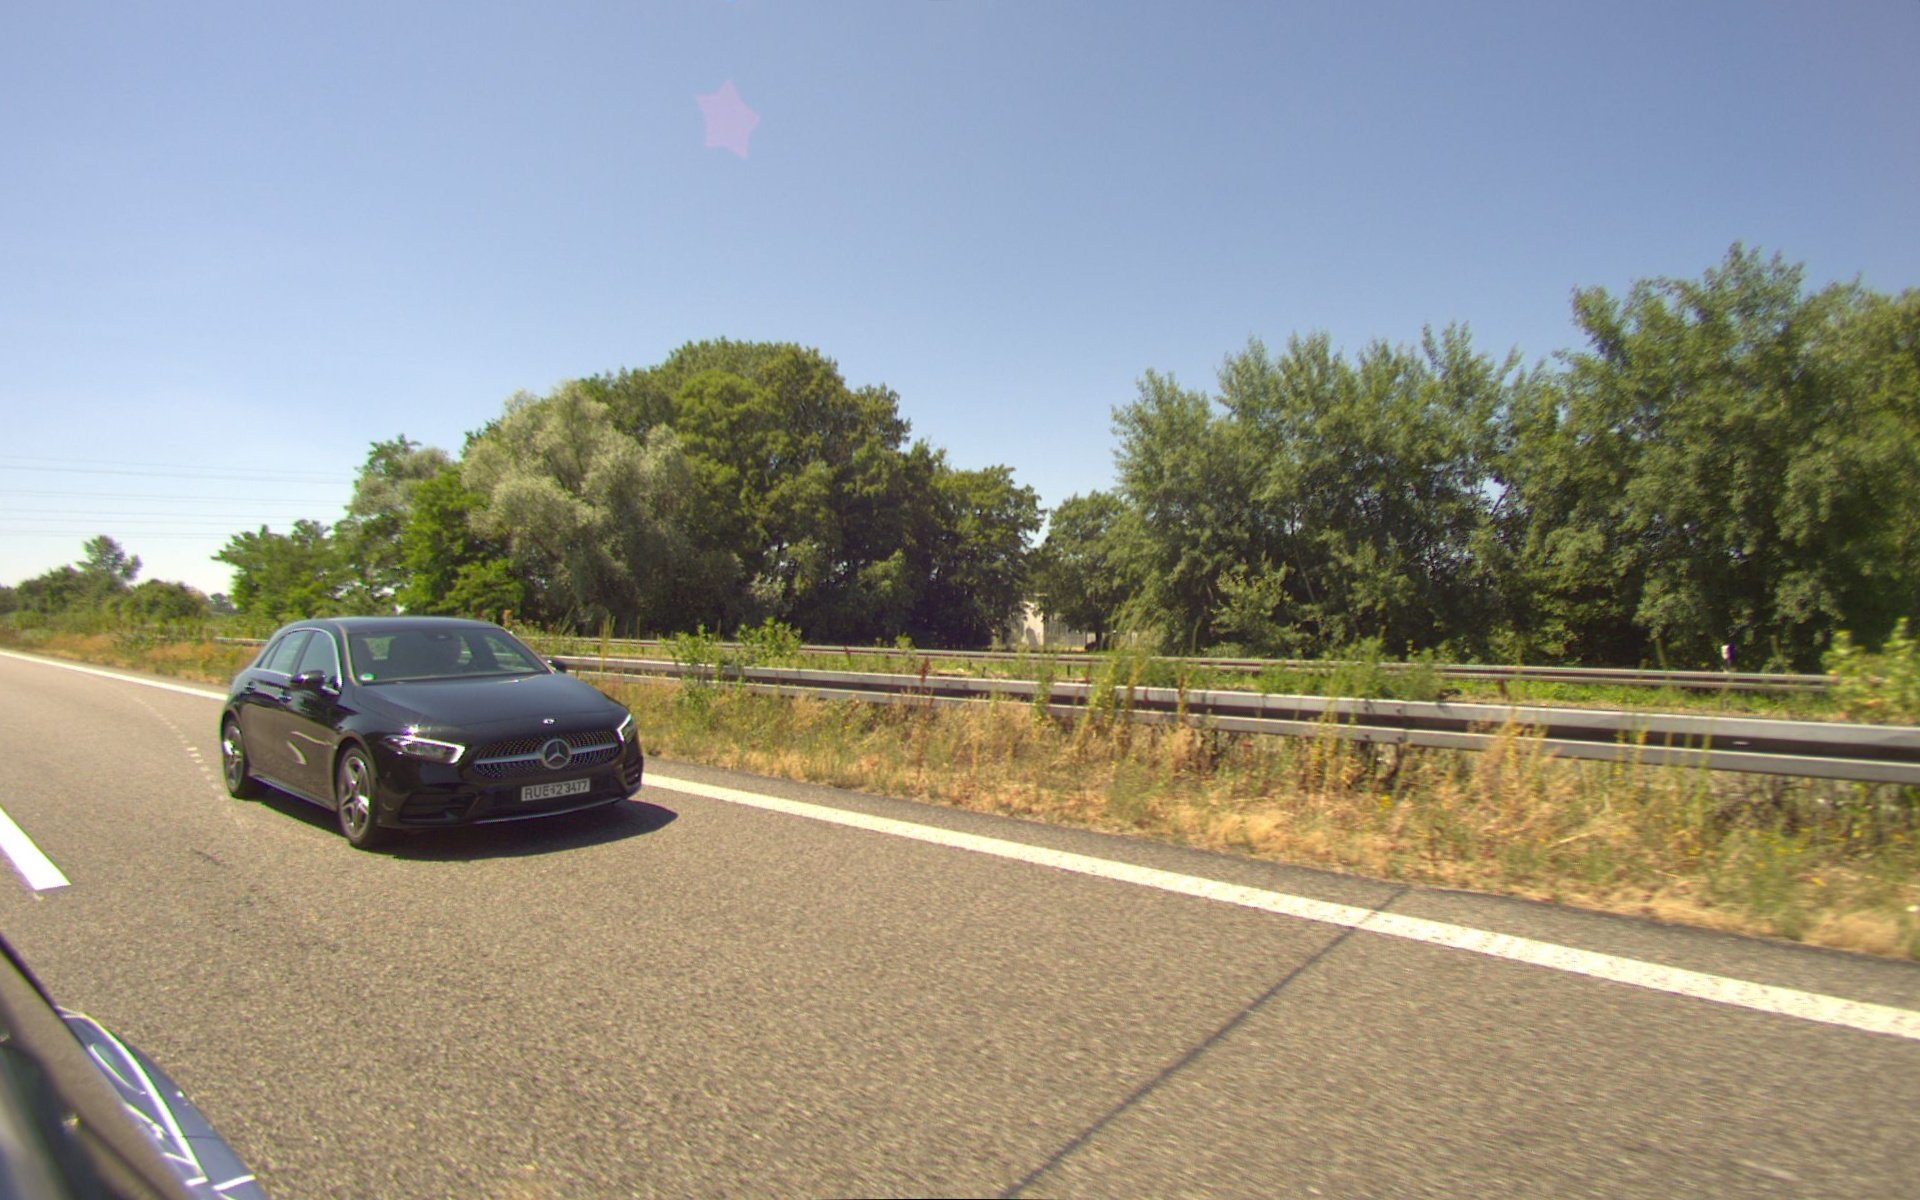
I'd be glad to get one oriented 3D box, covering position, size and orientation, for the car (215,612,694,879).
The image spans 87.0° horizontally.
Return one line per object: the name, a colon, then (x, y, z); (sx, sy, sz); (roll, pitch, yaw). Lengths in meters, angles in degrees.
car: (-3.905, 0.826, 7.499); (4.050, 1.422, 1.773); (-1, -1, 41)
